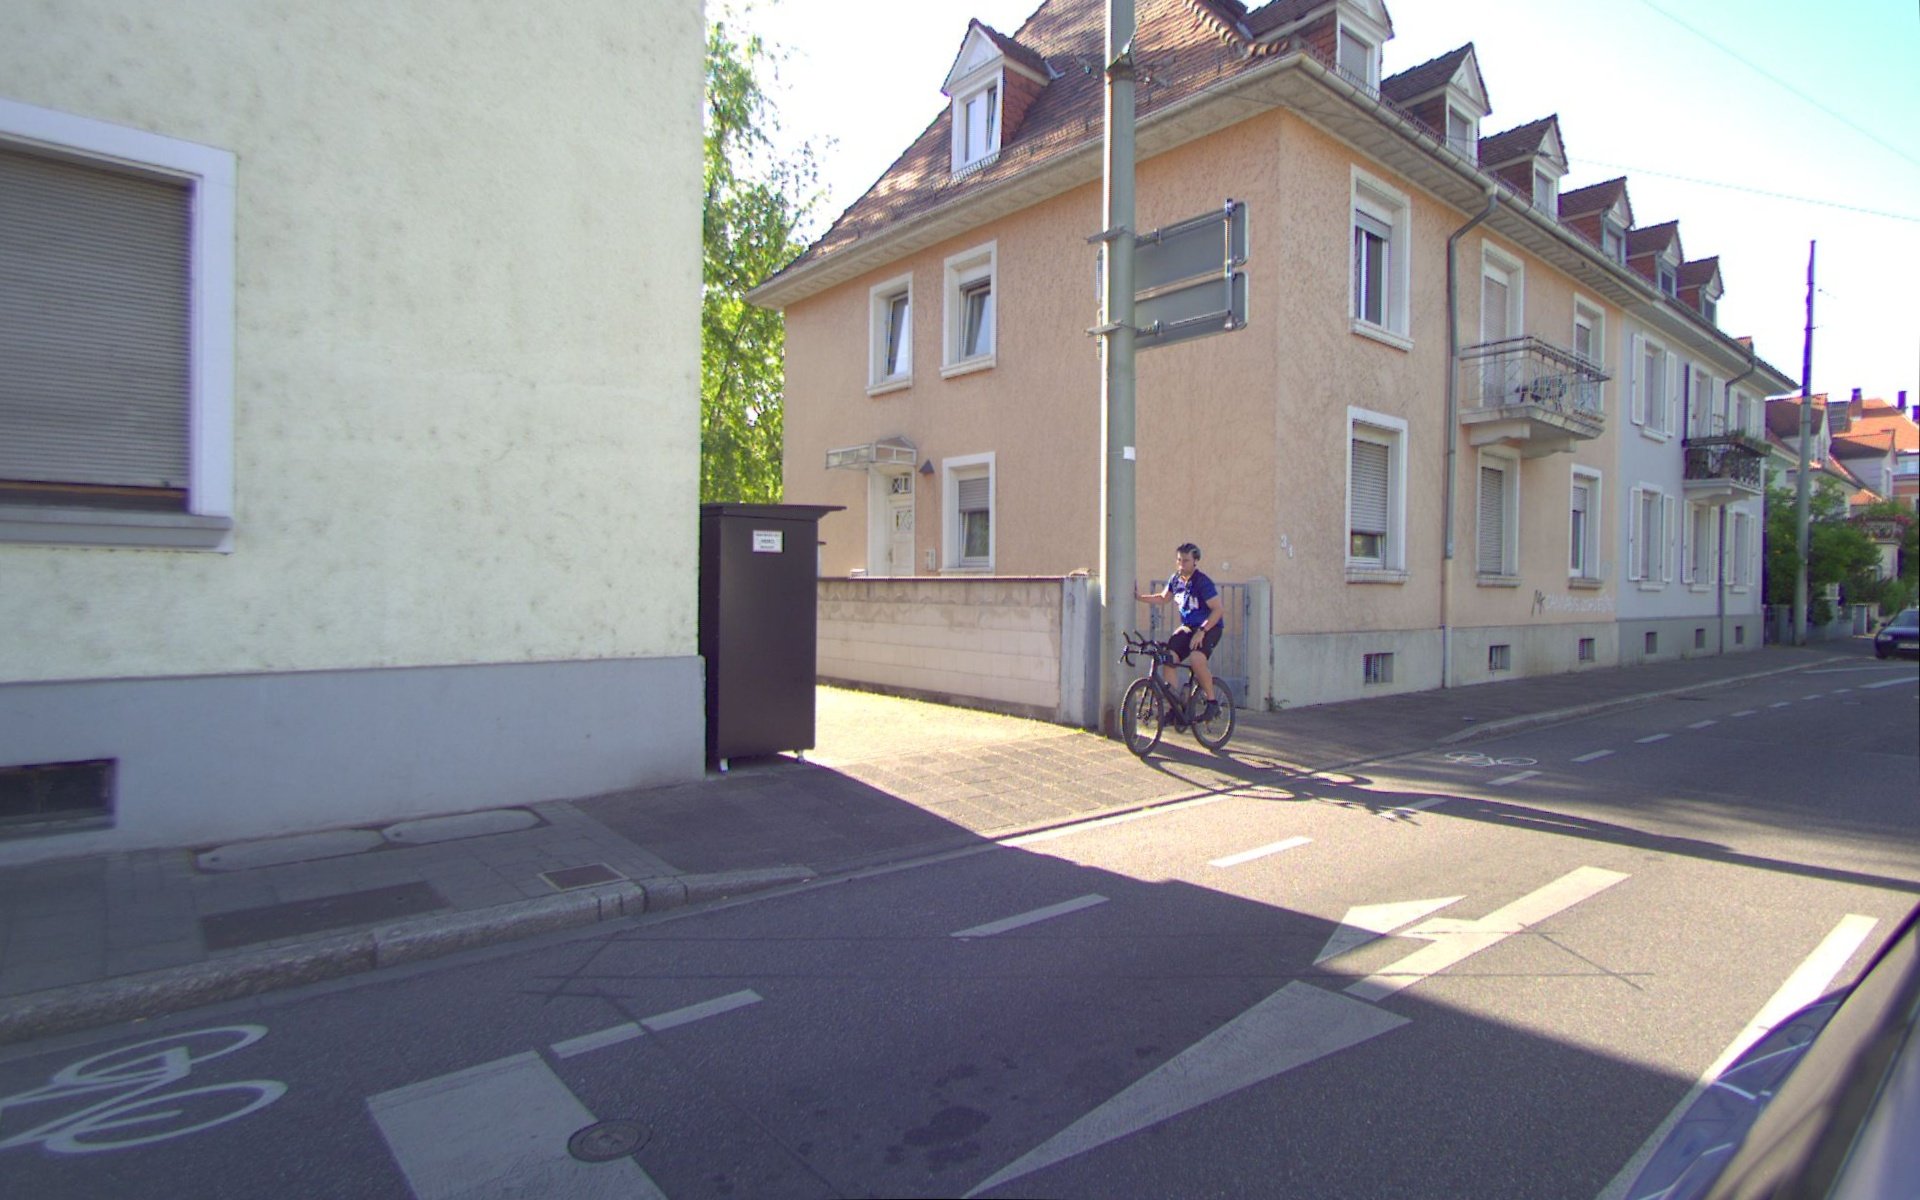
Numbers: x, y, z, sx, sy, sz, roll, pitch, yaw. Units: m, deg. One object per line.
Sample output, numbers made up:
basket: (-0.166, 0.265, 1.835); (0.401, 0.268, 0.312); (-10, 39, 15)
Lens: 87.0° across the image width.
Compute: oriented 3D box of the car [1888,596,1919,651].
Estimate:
car: (26.716, 0.621, 27.402); (4.347, 1.425, 1.866); (0, 1, -41)

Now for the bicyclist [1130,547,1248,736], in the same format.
bicyclist: (2.108, 0.351, 9.284); (0.998, 1.637, 0.562); (0, 1, -40)

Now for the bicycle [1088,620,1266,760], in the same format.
bicycle: (1.999, 0.768, 9.185); (1.763, 1.074, 0.551); (0, 6, -41)
